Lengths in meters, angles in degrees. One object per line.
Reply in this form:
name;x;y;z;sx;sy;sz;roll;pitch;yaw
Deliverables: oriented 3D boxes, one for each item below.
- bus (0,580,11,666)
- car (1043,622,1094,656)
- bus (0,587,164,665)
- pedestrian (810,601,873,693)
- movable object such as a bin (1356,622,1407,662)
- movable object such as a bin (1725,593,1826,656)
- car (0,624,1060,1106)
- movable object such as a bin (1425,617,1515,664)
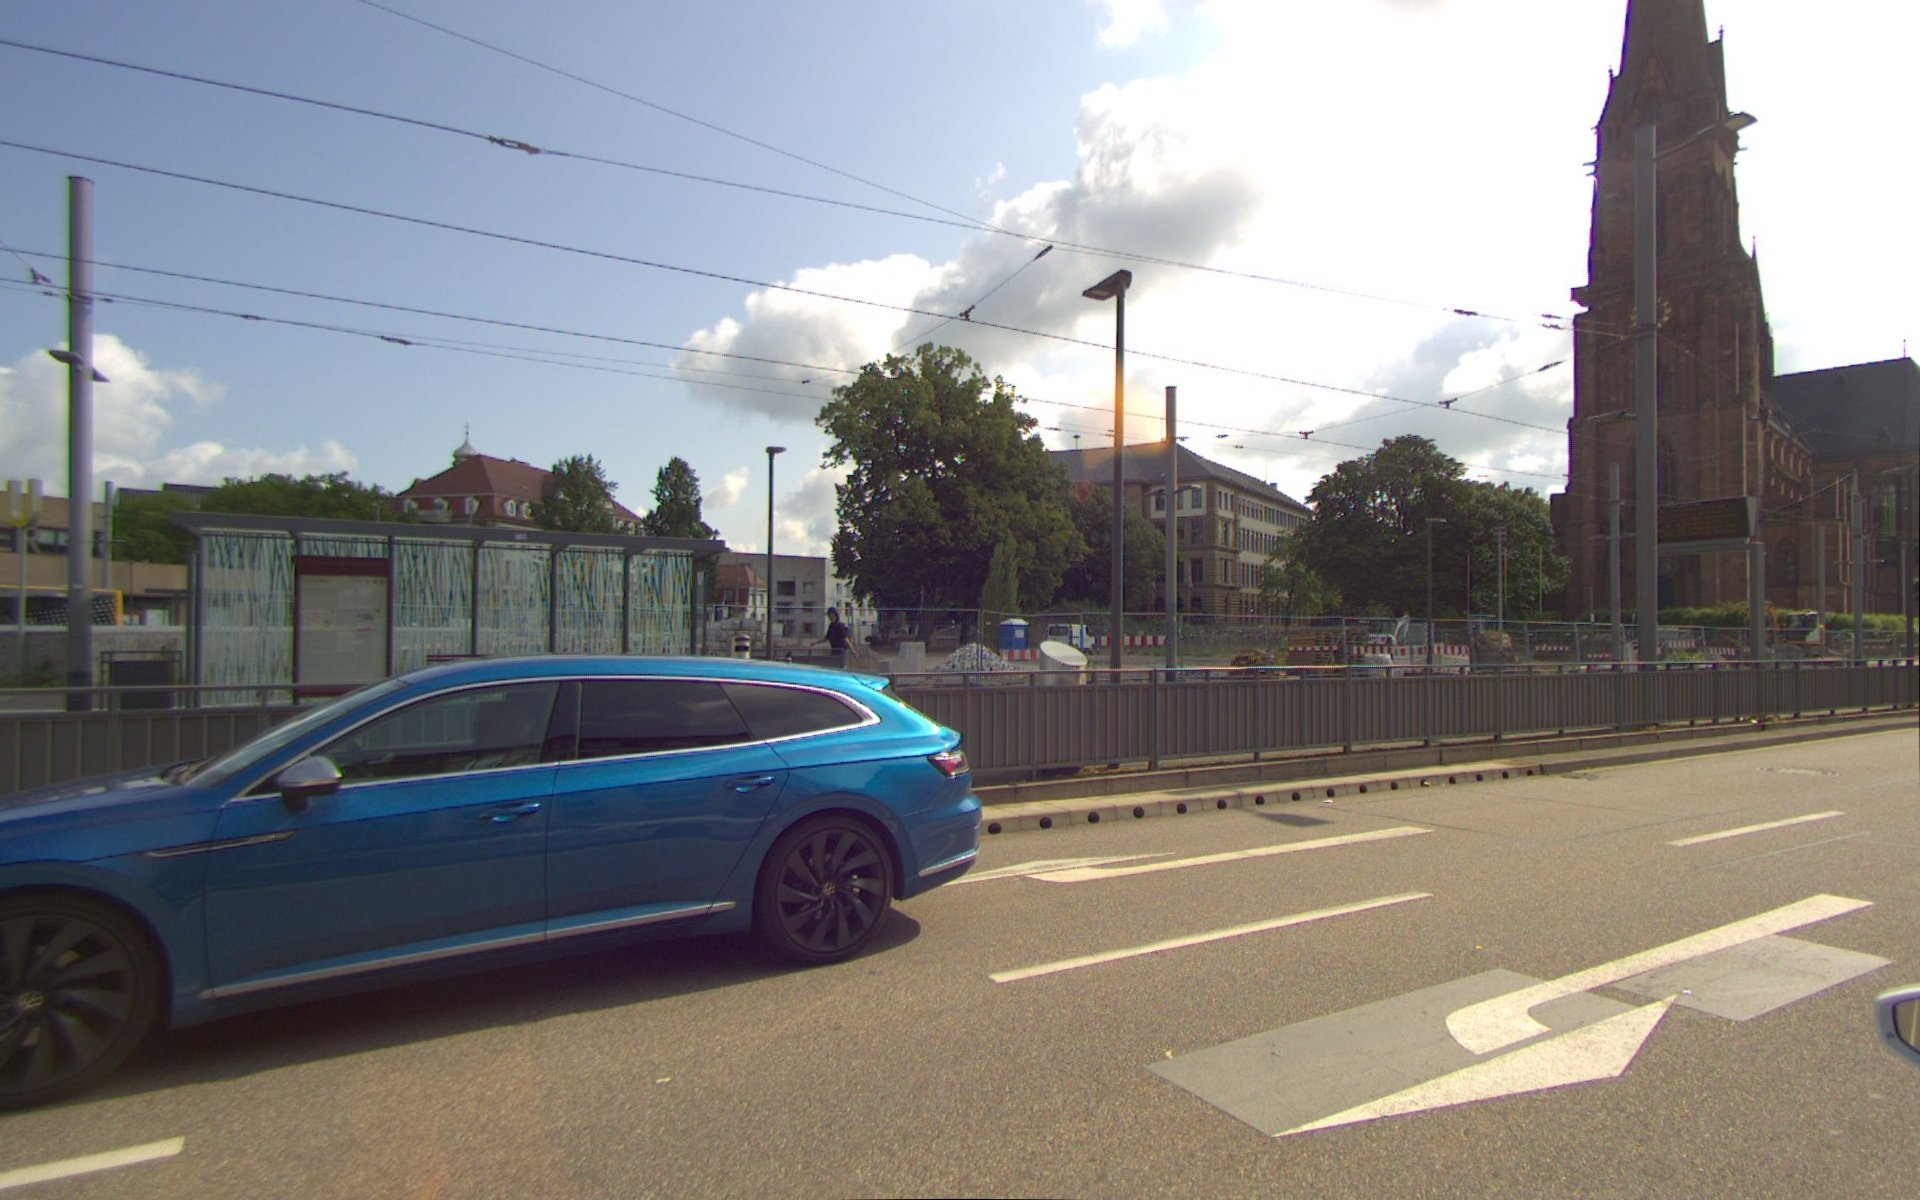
bus;-34.018;0.657;30.593;2.646;2.871;7.105;0;-2;14
car;7.094;2.549;65.447;1.963;2.040;3.997;1;-3;27
bus;-32.568;0.933;36.541;2.647;2.621;5.081;0;-2;13
pedestrian;-2.467;0.947;20.845;1.032;1.824;0.995;-1;1;-24
movable object such as a bin;25.023;2.447;59.559;1.967;2.235;4.259;-1;-2;35
movable object such as a bin;51.017;1.542;62.843;5.513;3.780;2.660;1;-1;-23
car;-1.878;0.888;4.874;4.502;1.474;1.841;1;-3;-31
movable object such as a bin;32.516;2.553;64.152;1.976;2.839;4.882;1;-1;-29
